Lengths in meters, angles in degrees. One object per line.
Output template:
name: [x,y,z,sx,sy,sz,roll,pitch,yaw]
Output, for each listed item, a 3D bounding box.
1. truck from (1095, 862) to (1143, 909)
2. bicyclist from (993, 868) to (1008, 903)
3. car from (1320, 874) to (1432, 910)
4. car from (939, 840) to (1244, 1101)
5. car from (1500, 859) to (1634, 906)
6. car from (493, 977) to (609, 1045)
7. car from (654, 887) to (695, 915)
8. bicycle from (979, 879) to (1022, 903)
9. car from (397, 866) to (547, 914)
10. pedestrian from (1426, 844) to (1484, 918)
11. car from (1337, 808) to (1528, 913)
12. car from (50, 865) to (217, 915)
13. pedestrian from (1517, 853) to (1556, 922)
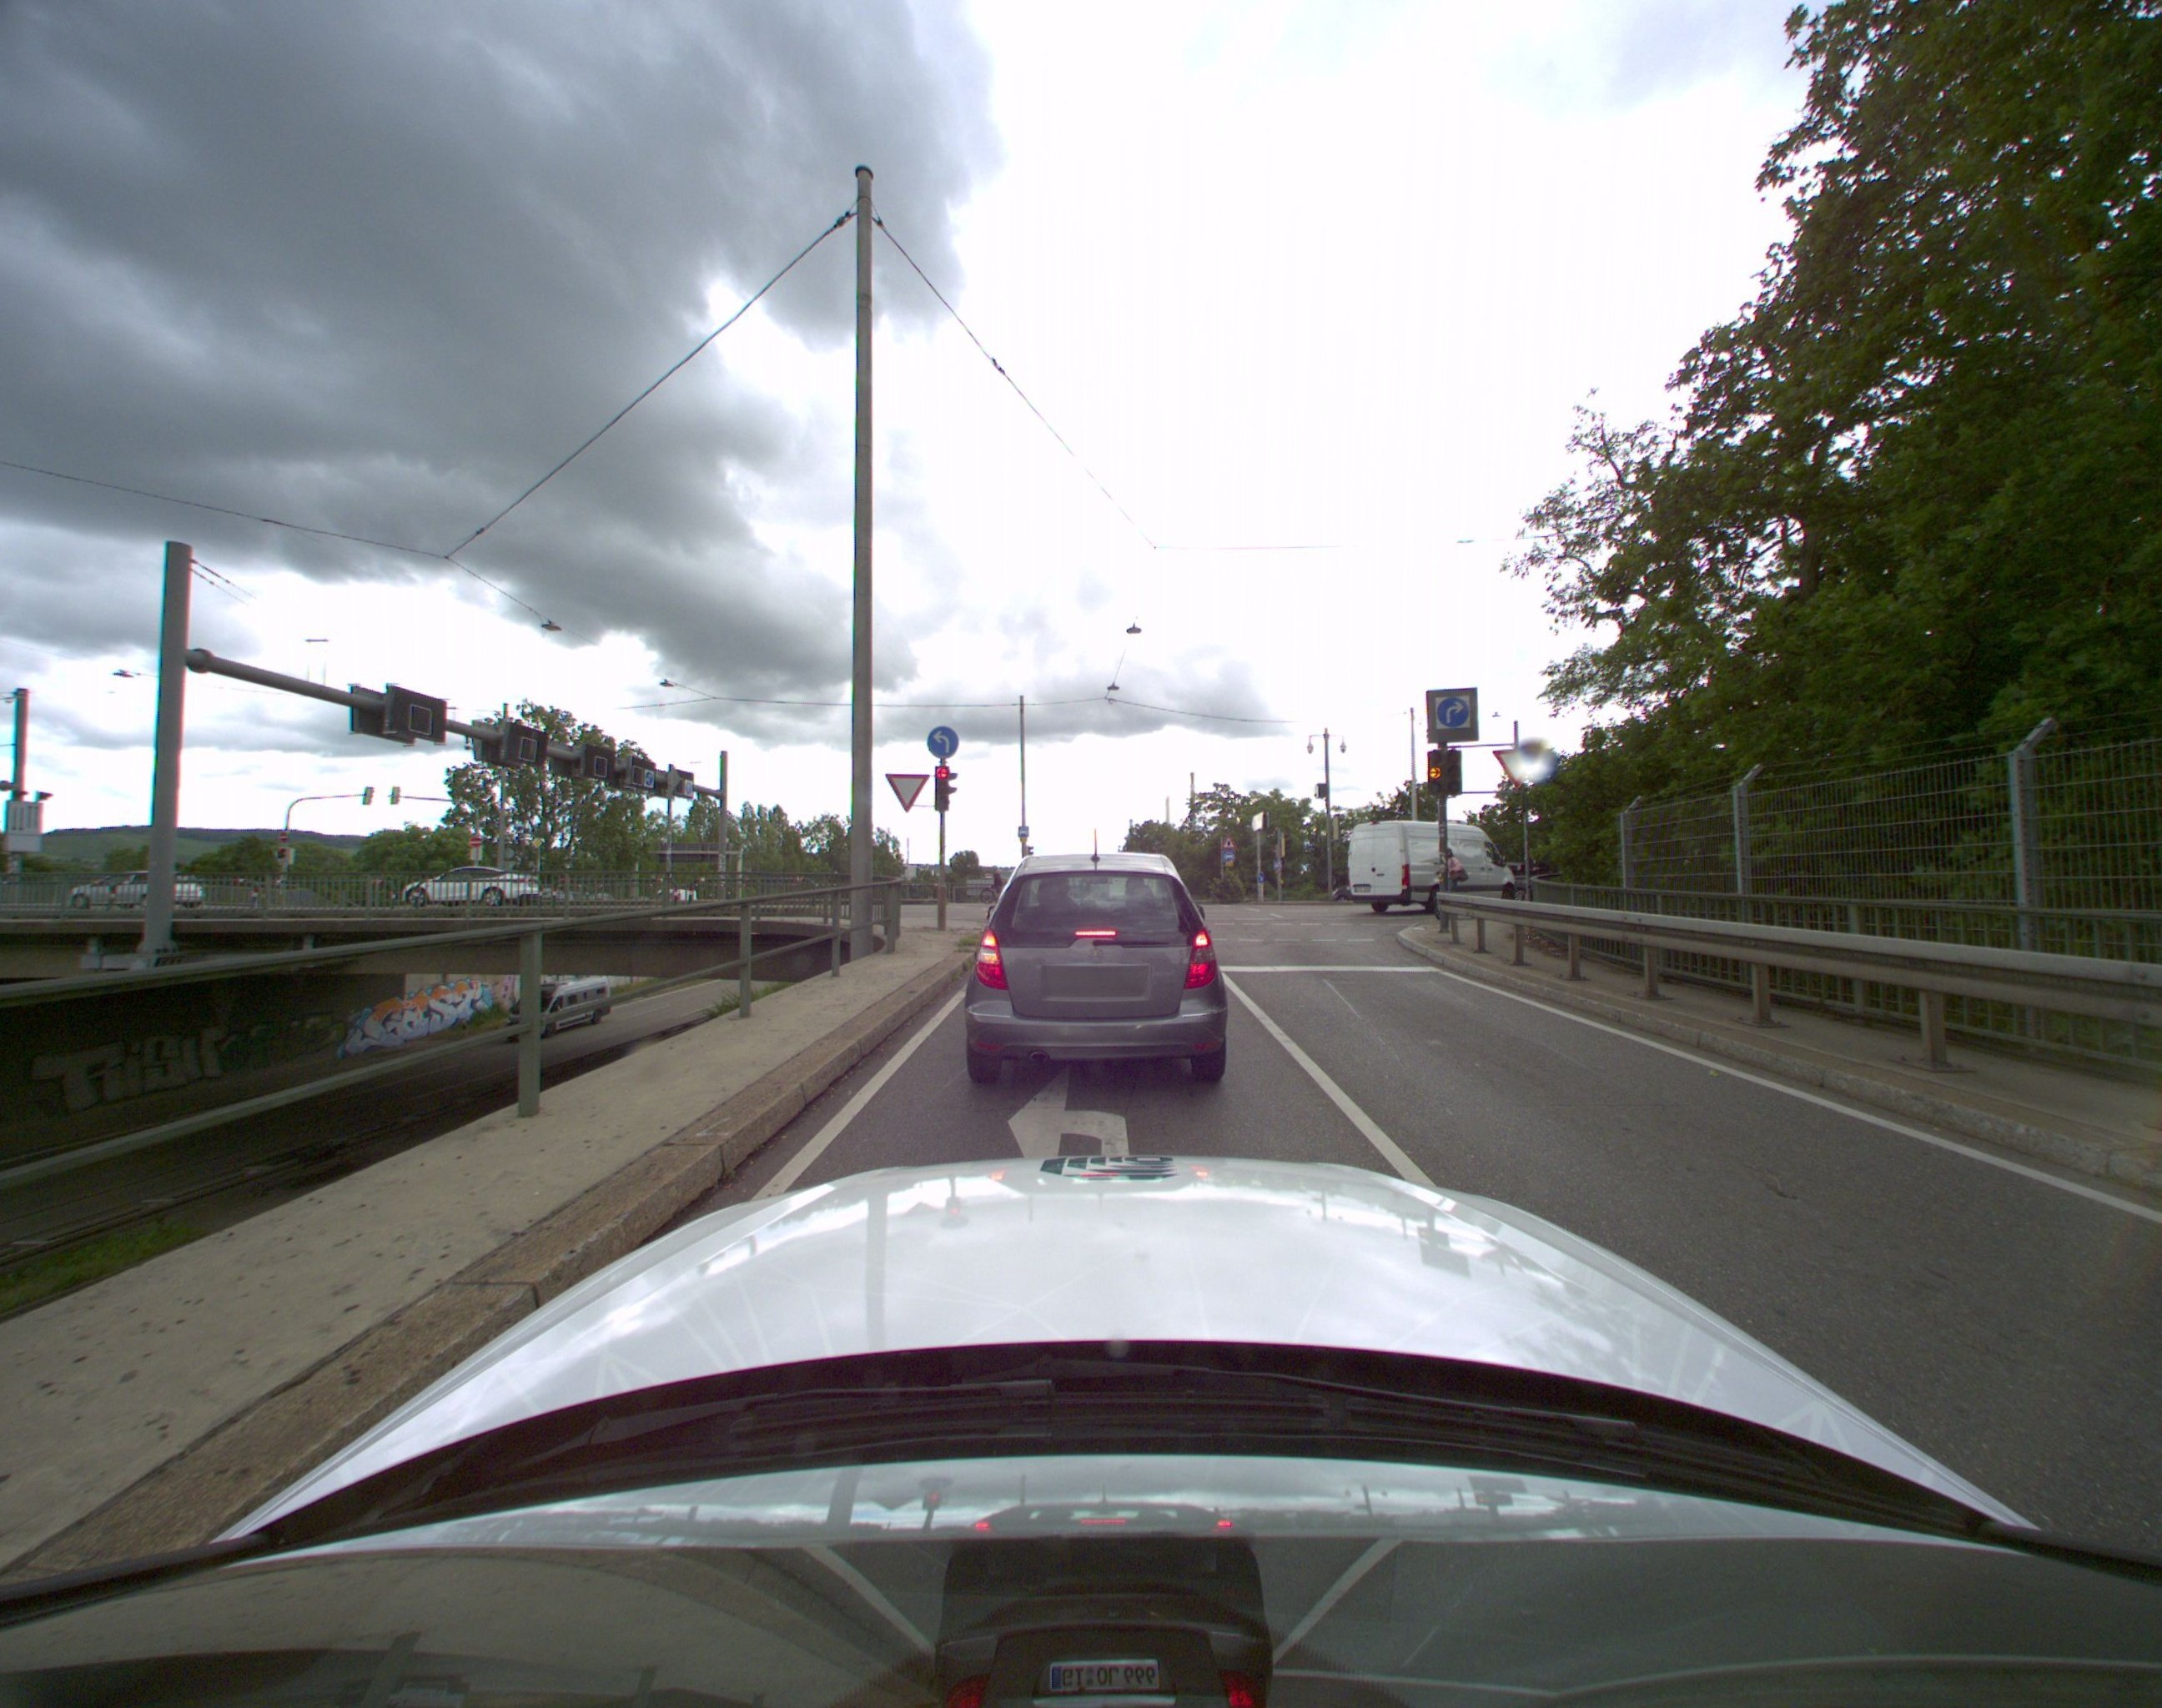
truck: [3.096,2.525,69.263,2.784,3.518,10.231,-1,0,-4]
bicyclist: [-3.976,1.536,40.284,0.653,1.673,0.867,-1,0,-9]
car: [15.519,1.954,42.971,5.172,1.771,2.018,-1,0,33]
car: [0.199,0.703,7.003,1.849,1.588,4.005,-1,1,4]
car: [18.380,1.055,30.932,3.969,1.665,1.815,-1,0,4]
car: [-27.747,8.173,42.986,2.077,2.535,6.325,-2,-2,-1]
car: [-36.328,4.206,72.870,1.850,2.215,3.660,-1,0,-3]
bicycle: [-3.983,1.822,40.269,2.032,1.124,0.926,-1,0,-10]
car: [-24.111,1.389,32.357,4.381,1.717,1.935,-1,0,-3]
pedestrian: [8.762,0.638,19.128,0.830,1.678,0.978,-1,-3,-1]
car: [10.857,0.149,24.821,6.811,2.784,2.093,-2,-3,-37]
car: [-36.572,1.363,31.528,3.979,1.717,1.935,-1,0,-4]
pedestrian: [11.116,0.802,19.883,0.774,1.619,0.681,-1,0,32]
